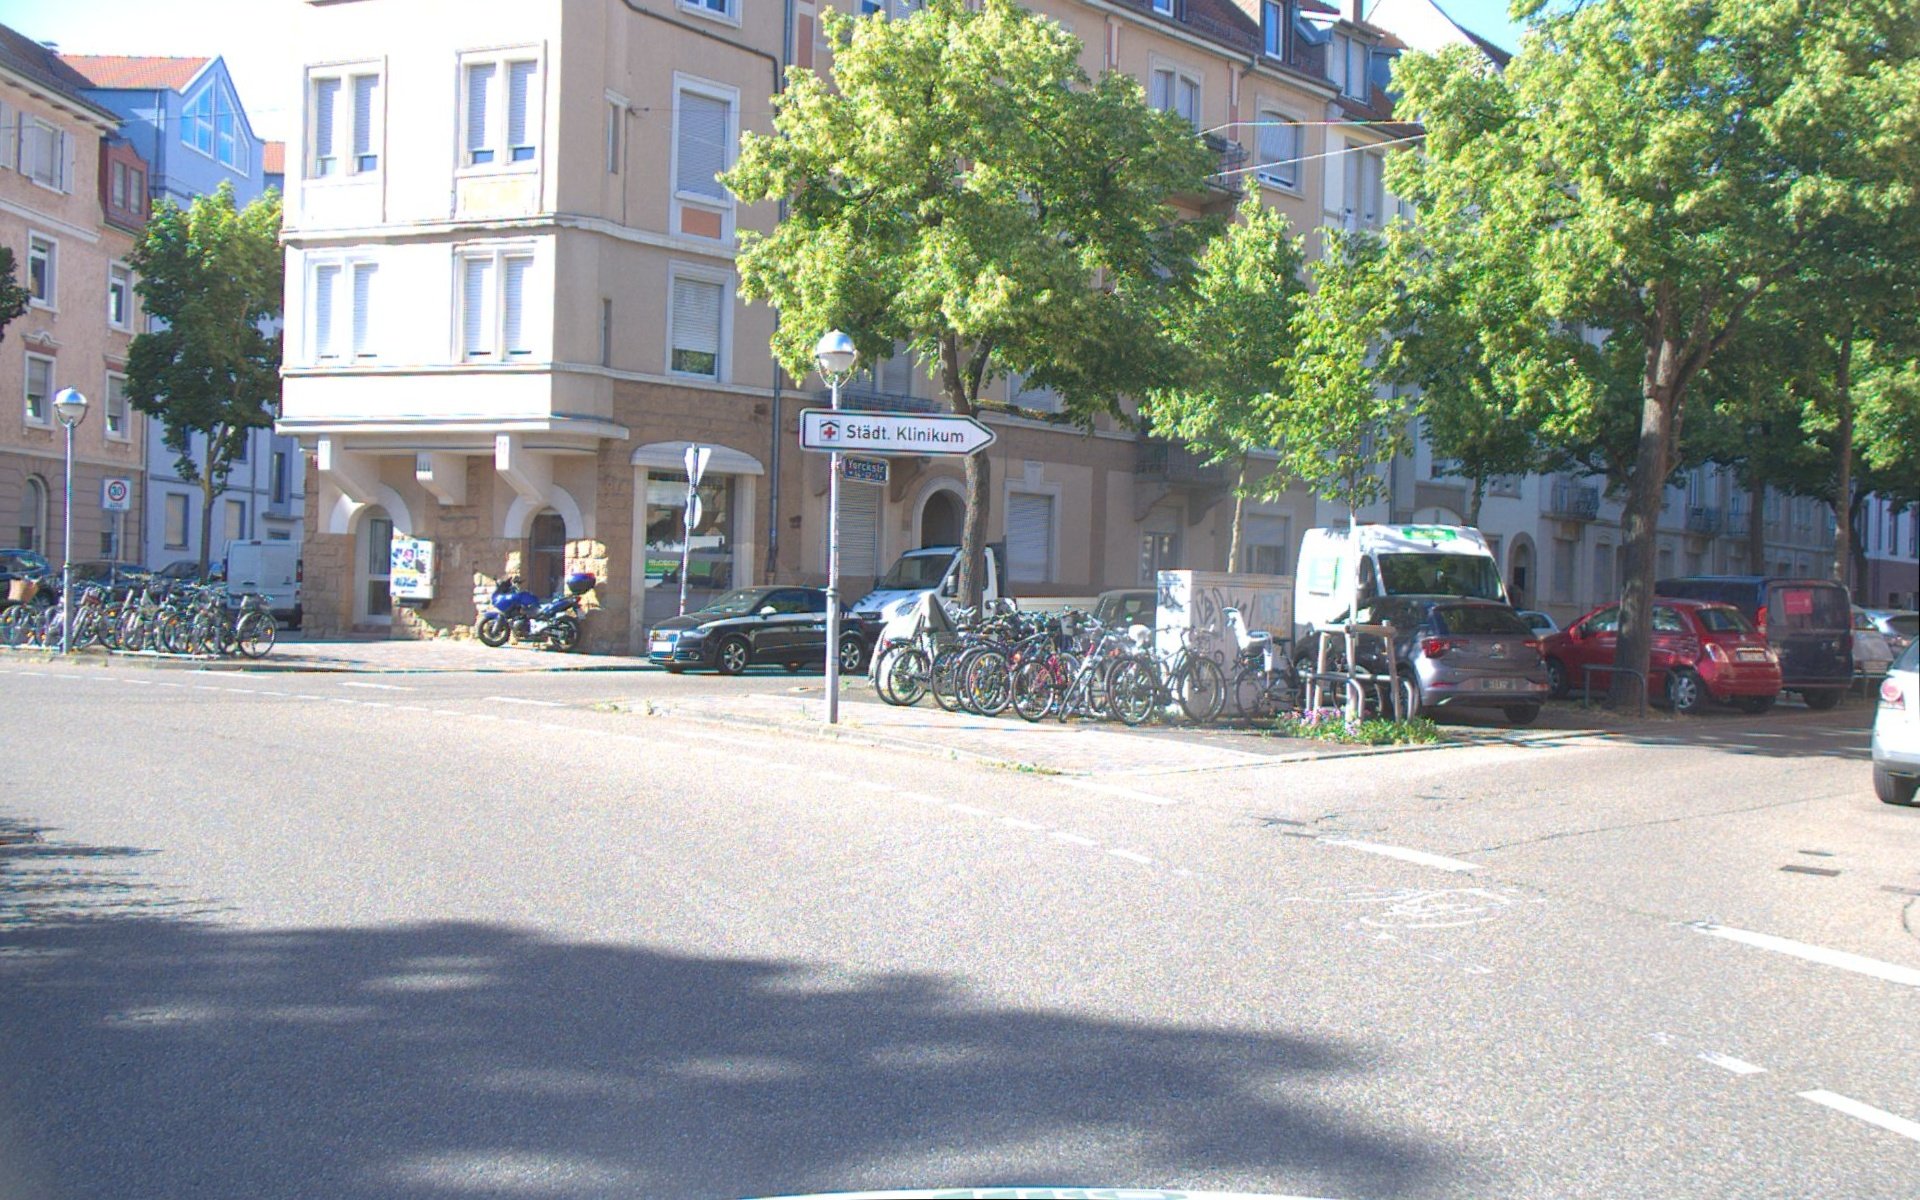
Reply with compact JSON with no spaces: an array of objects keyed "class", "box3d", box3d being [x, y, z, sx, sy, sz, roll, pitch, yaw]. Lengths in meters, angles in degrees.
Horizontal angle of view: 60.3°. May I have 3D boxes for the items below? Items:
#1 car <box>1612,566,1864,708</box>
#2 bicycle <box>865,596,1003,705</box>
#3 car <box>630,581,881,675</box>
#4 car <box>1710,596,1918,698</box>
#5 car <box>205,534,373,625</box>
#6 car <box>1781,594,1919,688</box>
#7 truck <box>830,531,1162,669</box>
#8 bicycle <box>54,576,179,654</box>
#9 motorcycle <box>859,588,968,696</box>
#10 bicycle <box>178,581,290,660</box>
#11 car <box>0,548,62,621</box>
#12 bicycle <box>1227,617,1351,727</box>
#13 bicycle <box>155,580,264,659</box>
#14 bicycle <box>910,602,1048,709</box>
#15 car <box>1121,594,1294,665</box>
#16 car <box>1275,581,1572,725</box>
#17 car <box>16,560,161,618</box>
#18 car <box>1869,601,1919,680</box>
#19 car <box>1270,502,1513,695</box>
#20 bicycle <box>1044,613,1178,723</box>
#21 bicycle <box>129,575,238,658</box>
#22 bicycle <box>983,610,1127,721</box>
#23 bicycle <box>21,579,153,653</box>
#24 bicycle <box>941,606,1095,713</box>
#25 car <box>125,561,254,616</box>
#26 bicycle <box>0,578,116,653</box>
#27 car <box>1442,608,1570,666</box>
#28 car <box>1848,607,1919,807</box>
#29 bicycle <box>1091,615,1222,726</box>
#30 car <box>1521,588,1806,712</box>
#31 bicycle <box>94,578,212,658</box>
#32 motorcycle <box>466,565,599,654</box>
[{"class":"car","box3d":[11.566,0.497,24.821,1.653,1.897,3.374,2,1,-12]},{"class":"bicycle","box3d":[-0.296,0.575,19.544,1.664,1.213,0.530,0,2,-41]},{"class":"car","box3d":[-3.268,0.432,26.919,1.660,1.414,3.895,0,0,44]},{"class":"car","box3d":[14.596,0.762,28.467,1.649,1.495,3.382,2,1,-4]},{"class":"car","box3d":[-15.388,-0.457,38.203,2.091,1.942,4.560,1,0,-2]},{"class":"car","box3d":[16.497,0.713,29.694,1.649,1.495,3.382,2,1,-4]},{"class":"truck","box3d":[0.807,0.033,30.958,6.563,2.332,2.107,1,0,-42]},{"class":"bicycle","box3d":[-13.053,0.220,25.636,0.623,1.165,1.695,1,0,26]},{"class":"motorcycle","box3d":[-0.621,0.520,21.481,0.532,1.292,1.690,0,2,-36]},{"class":"bicycle","box3d":[-10.906,0.294,24.901,0.472,1.143,1.719,1,0,20]},{"class":"car","box3d":[-23.037,-0.377,38.439,1.864,1.670,4.347,1,0,1]},{"class":"bicycle","box3d":[3.546,0.752,17.762,1.511,1.105,0.413,0,2,-39]},{"class":"bicycle","box3d":[-11.330,0.284,25.036,0.472,1.143,1.697,1,0,18]},{"class":"bicycle","box3d":[0.229,0.615,18.974,1.588,1.146,0.581,0,2,-41]},{"class":"car","box3d":[5.265,0.598,34.906,1.660,1.414,3.895,0,0,44]},{"class":"car","box3d":[5.545,0.582,20.296,1.656,1.471,3.905,2,2,-16]},{"class":"car","box3d":[-22.837,-0.283,43.493,1.660,1.436,3.665,1,0,4]},{"class":"car","box3d":[19.641,0.851,32.388,1.649,1.495,3.382,2,1,-4]},{"class":"car","box3d":[6.694,-0.101,26.573,2.054,2.645,6.376,2,1,-1]},{"class":"bicycle","box3d":[1.625,0.705,17.684,1.558,1.108,0.413,0,2,-39]},{"class":"bicycle","box3d":[-11.768,0.244,25.114,0.441,1.212,1.697,1,0,18]},{"class":"bicycle","box3d":[1.044,0.683,17.895,1.634,1.121,0.493,0,2,-40]},{"class":"bicycle","box3d":[-13.637,0.245,25.900,0.524,1.109,1.877,1,0,26]},{"class":"bicycle","box3d":[0.661,0.639,18.419,1.714,1.107,0.647,0,2,-41]},{"class":"car","box3d":[-22.668,-0.323,48.795,1.660,1.512,4.005,1,0,4]},{"class":"bicycle","box3d":[-14.338,0.241,26.077,0.683,1.149,1.868,0,-1,20]},{"class":"car","box3d":[14.256,0.936,43.077,1.660,1.414,3.895,0,0,44]},{"class":"car","box3d":[8.715,0.850,13.300,3.516,1.471,1.663,1,2,-42]},{"class":"bicycle","box3d":[2.087,0.729,17.492,1.511,1.105,0.413,0,2,-39]},{"class":"car","box3d":[9.745,0.653,23.142,1.663,1.471,3.354,2,2,-27]},{"class":"bicycle","box3d":[-12.293,0.256,25.252,0.602,1.165,1.697,1,0,18]},{"class":"motorcycle","box3d":[-7.578,0.155,29.316,2.197,1.435,0.701,3,2,18]}]
